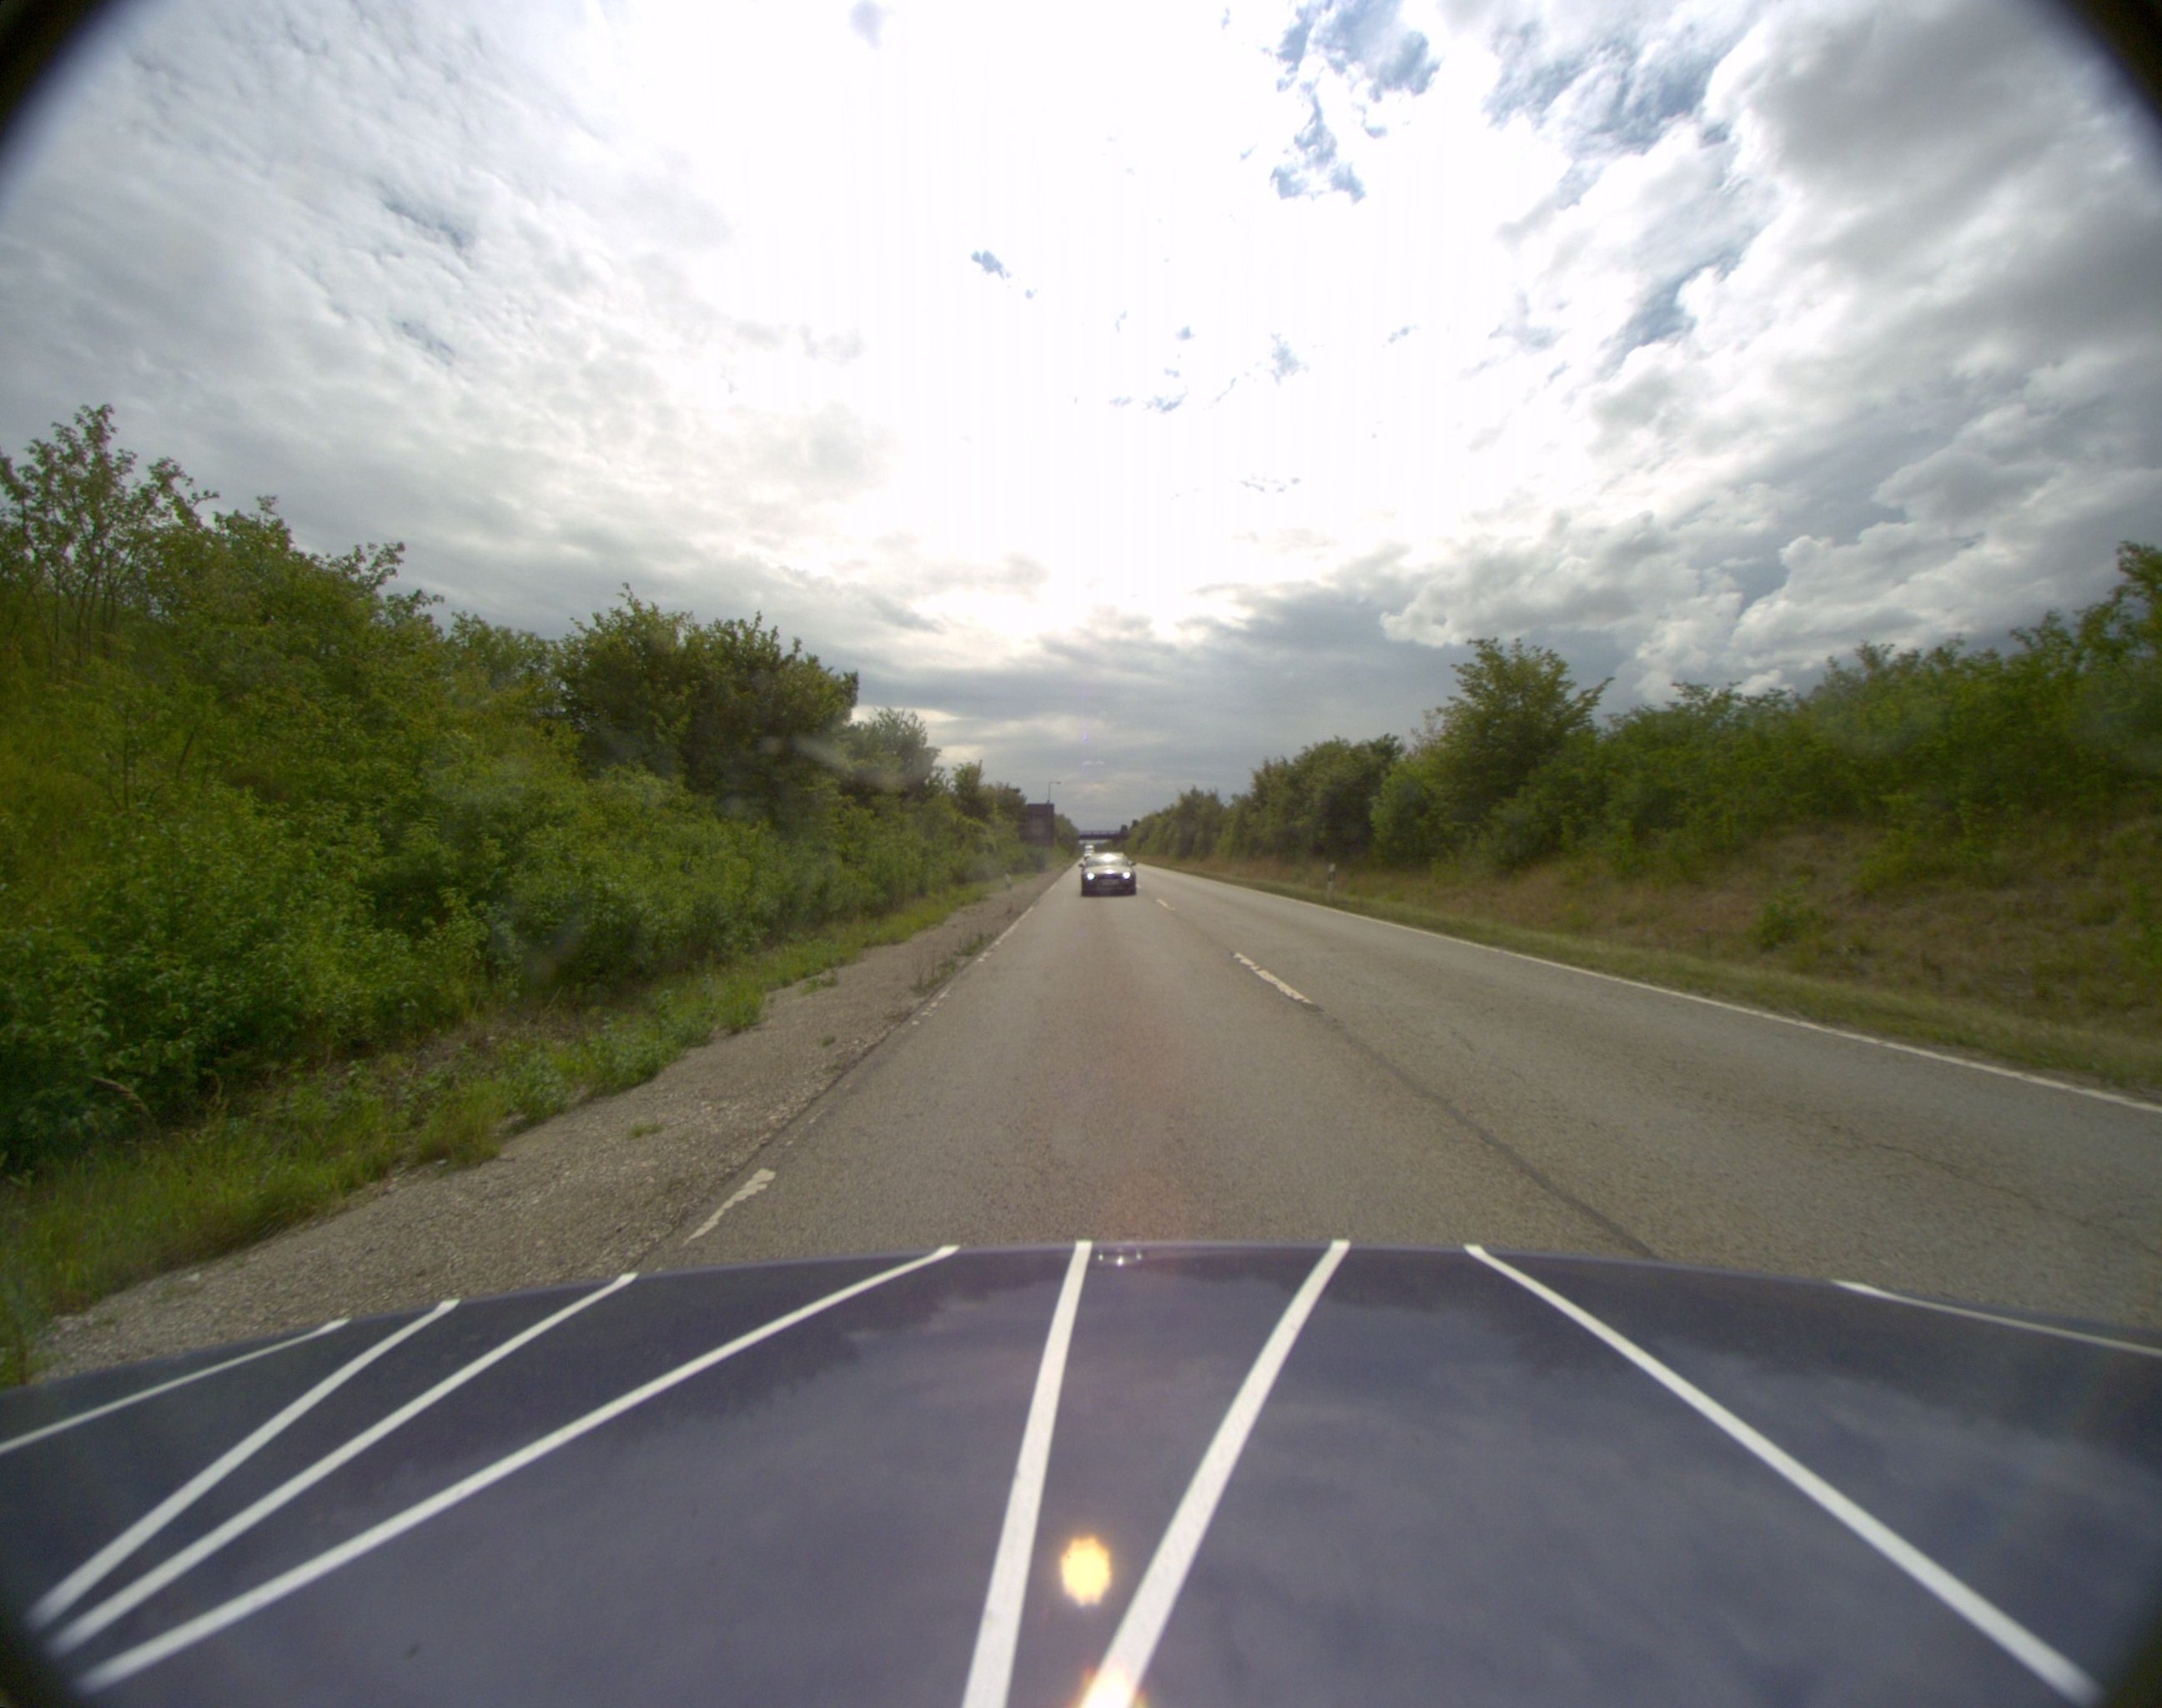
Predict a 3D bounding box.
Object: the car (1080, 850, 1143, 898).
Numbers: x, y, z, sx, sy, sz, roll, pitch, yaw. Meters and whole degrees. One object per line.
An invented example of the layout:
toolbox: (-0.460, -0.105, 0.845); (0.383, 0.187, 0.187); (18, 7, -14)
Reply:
car: (1.027, 0.647, 27.297); (1.998, 1.436, 4.640); (-2, 1, 1)

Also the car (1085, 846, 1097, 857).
car: (1.640, -0.410, 121.906); (1.870, 1.597, 3.999); (-1, 1, 0)
